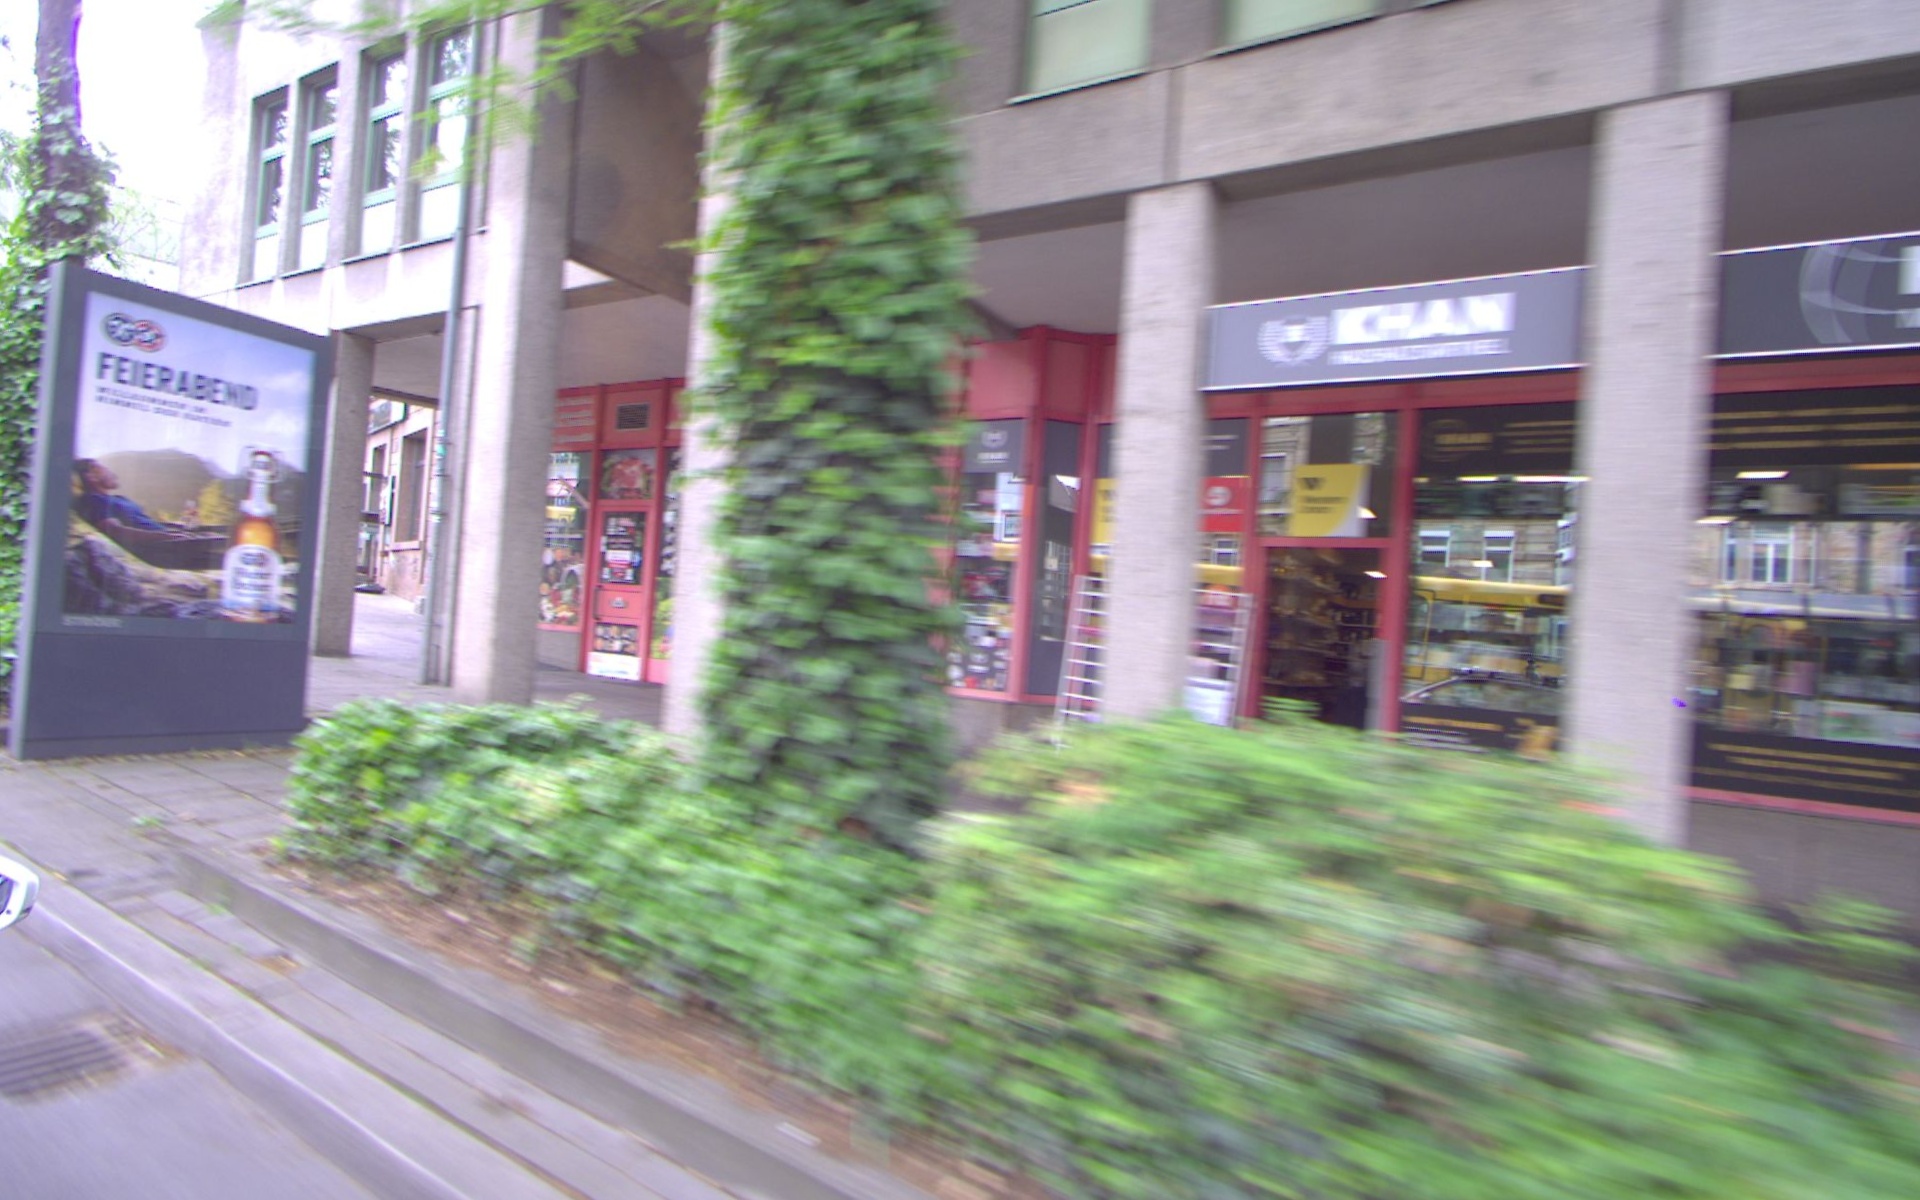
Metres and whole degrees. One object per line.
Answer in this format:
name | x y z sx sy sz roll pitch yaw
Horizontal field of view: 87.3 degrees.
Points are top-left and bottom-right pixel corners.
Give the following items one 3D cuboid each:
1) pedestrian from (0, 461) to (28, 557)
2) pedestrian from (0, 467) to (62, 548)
pedestrian | -16.935 -1.612 17.540 0.576 1.626 0.638 6 -2 12
pedestrian | -17.557 -1.730 18.940 0.576 1.384 0.638 6 -2 12
